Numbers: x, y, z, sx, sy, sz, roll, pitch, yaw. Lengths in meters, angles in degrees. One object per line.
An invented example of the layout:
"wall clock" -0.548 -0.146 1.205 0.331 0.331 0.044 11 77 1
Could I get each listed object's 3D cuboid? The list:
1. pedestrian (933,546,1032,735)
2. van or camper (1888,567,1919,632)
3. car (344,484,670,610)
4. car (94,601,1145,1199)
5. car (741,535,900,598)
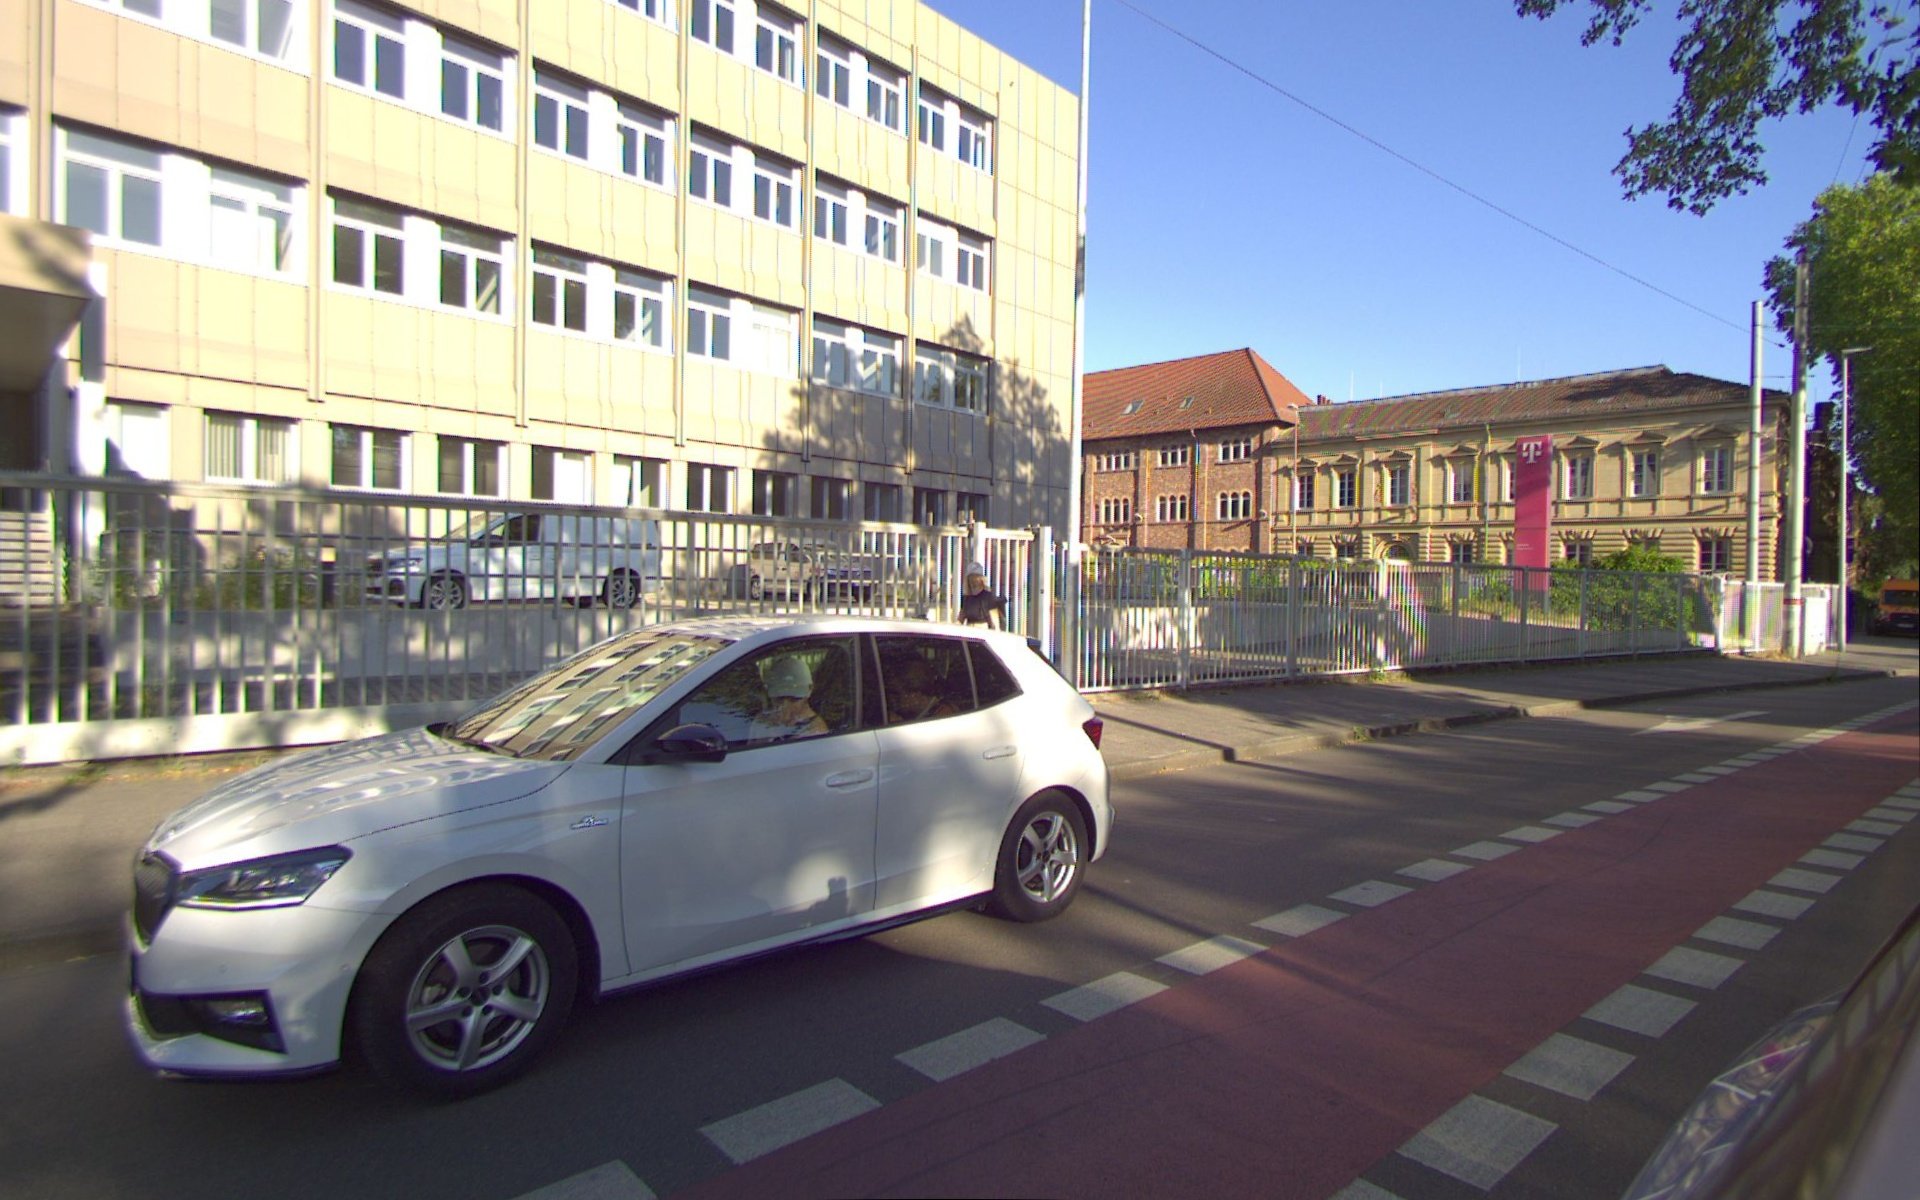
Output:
"pedestrian" 0.219 0.373 10.017 0.757 1.784 0.592 0 1 -41
"van or camper" 41.132 -0.057 43.244 1.994 2.626 5.537 0 0 44
"car" -7.595 -0.823 17.331 1.994 1.865 4.709 2 2 44
"car" -1.109 0.726 4.402 4.005 1.406 1.703 0 0 -42
"car" -3.933 -0.921 27.996 4.563 1.601 1.968 2 2 44
